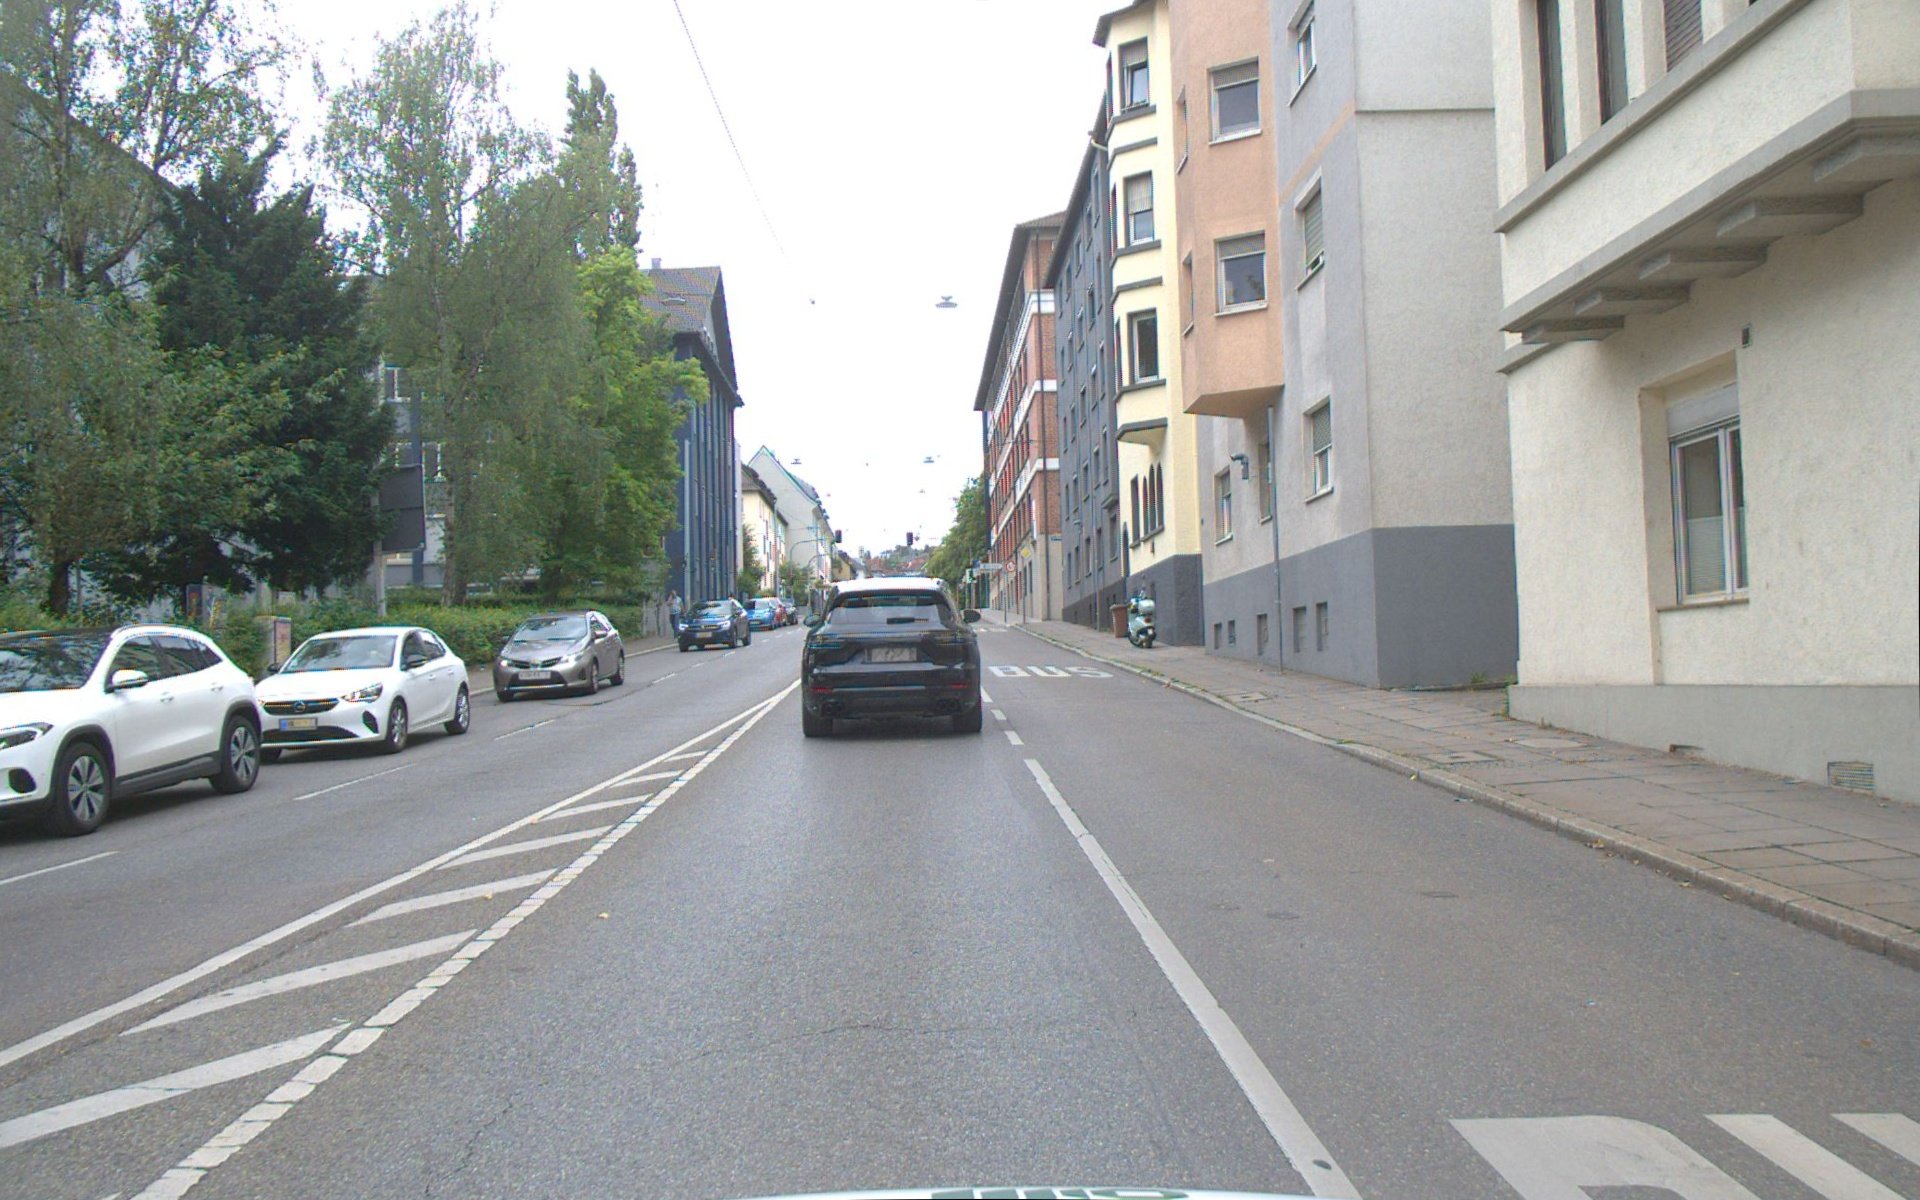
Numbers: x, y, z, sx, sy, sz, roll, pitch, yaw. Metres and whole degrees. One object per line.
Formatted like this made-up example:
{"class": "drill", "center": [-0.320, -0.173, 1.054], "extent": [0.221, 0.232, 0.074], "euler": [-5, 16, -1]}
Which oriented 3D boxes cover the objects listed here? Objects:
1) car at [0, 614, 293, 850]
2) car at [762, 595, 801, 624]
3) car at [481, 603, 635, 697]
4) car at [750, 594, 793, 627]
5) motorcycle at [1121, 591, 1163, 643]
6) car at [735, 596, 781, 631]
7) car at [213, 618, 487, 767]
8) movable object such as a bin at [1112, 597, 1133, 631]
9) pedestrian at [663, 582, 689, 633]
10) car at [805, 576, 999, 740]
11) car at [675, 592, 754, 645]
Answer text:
{"class": "car", "center": [-7.689, 1.042, 14.228], "extent": [1.911, 1.621, 4.498], "euler": [-4, 0, 1]}
{"class": "car", "center": [-9.631, 0.494, 89.465], "extent": [1.680, 1.364, 3.903], "euler": [-4, 0, -2]}
{"class": "car", "center": [-7.332, 0.863, 30.580], "extent": [1.802, 1.473, 4.310], "euler": [-3, 0, -1]}
{"class": "car", "center": [-9.493, 0.497, 83.555], "extent": [1.679, 1.481, 3.989], "euler": [-4, 0, 0]}
{"class": "motorcycle", "center": [4.394, 0.388, 40.041], "extent": [0.527, 1.176, 2.224], "euler": [-4, 1, -4]}
{"class": "car", "center": [-9.439, 0.603, 77.576], "extent": [1.680, 1.448, 3.988], "euler": [-4, 1, -2]}
{"class": "car", "center": [-7.363, 1.053, 20.425], "extent": [1.802, 1.436, 4.073], "euler": [-4, 0, 0]}
{"class": "movable object such as a bin", "center": [4.594, 0.400, 46.758], "extent": [0.465, 0.907, 0.516], "euler": [-4, 0, -2]}
{"class": "pedestrian", "center": [-11.039, 0.293, 64.358], "extent": [0.864, 1.984, 0.867], "euler": [1, 0, -2]}
{"class": "car", "center": [-0.795, 0.581, 19.129], "extent": [1.985, 1.670, 4.351], "euler": [0, 0, -6]}
{"class": "car", "center": [-7.573, 0.538, 51.359], "extent": [1.802, 1.473, 4.310], "euler": [-3, 0, -1]}
